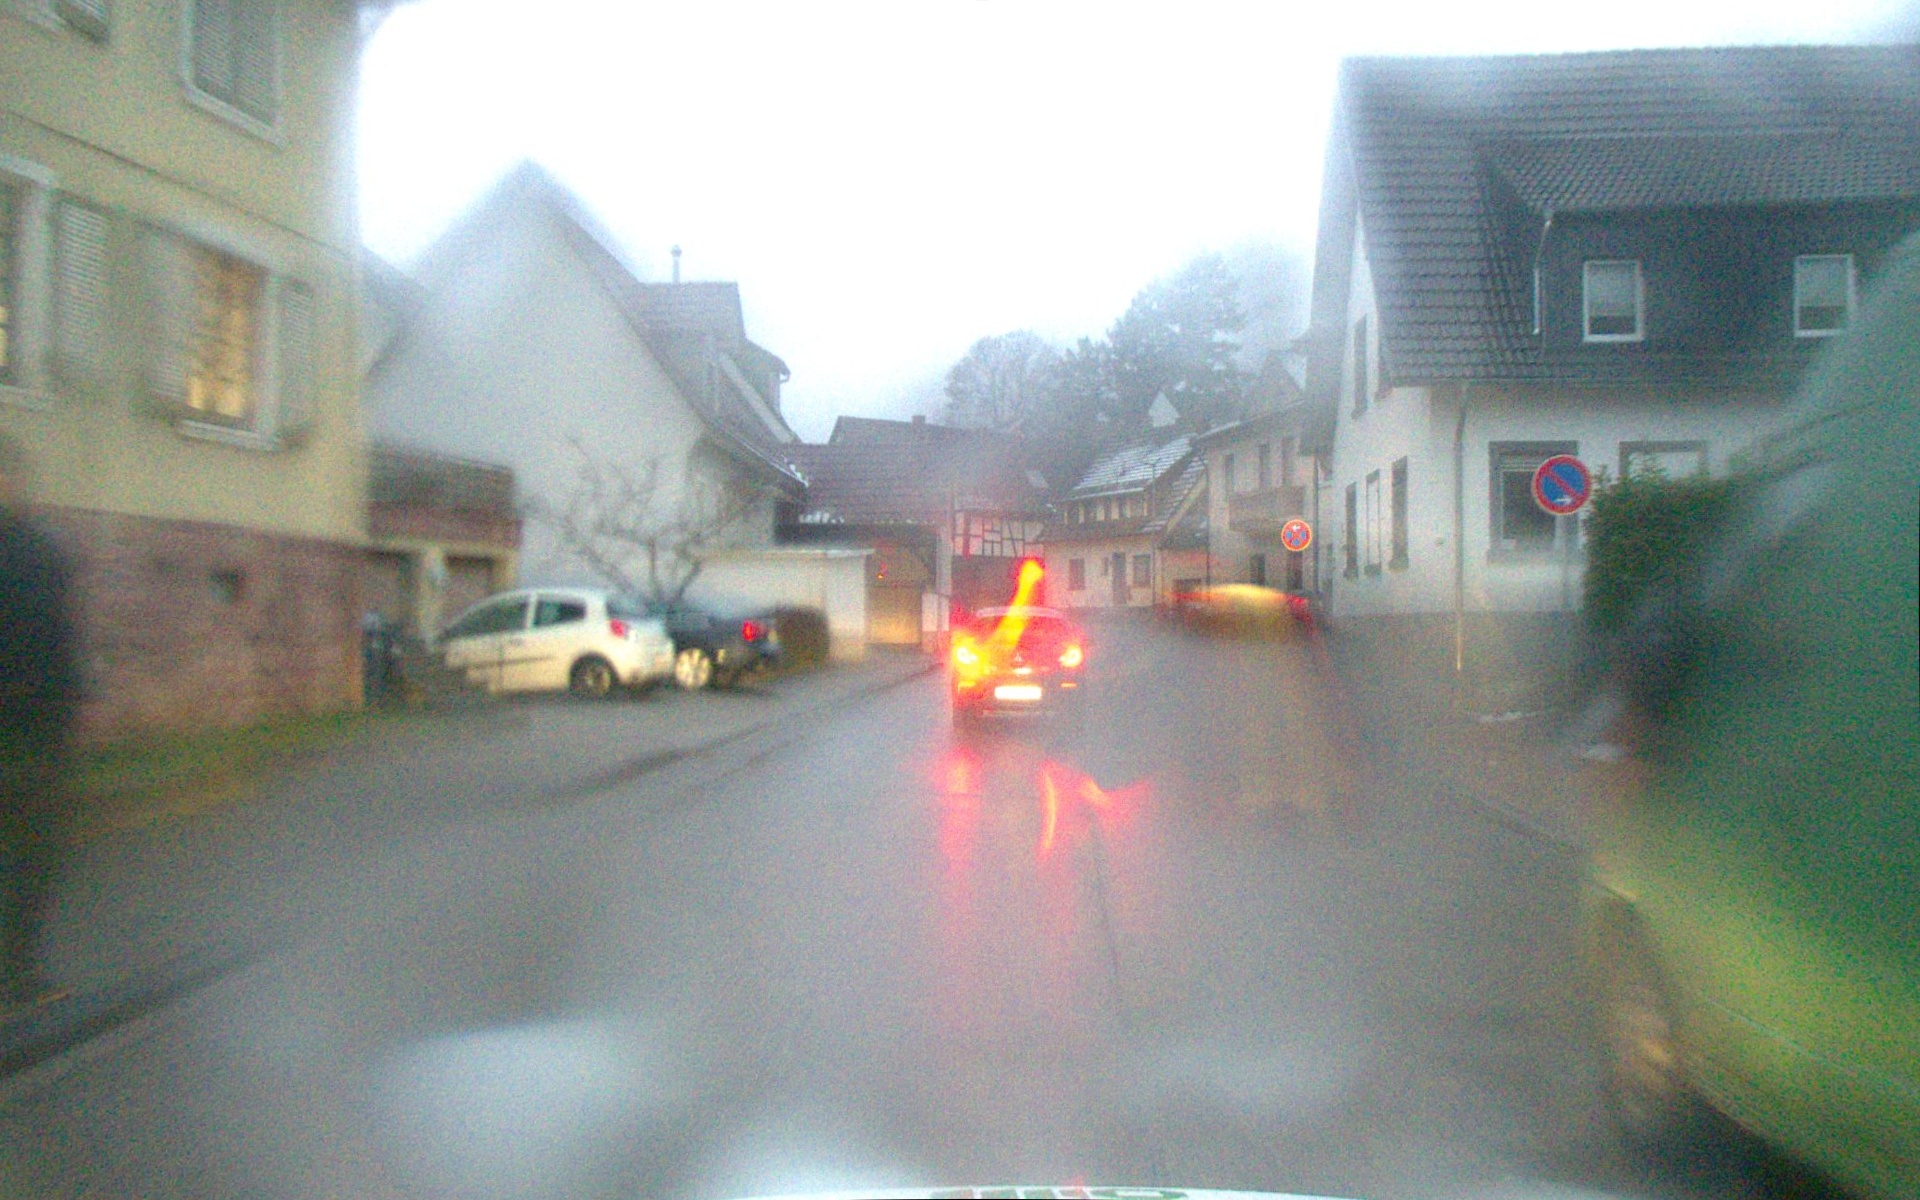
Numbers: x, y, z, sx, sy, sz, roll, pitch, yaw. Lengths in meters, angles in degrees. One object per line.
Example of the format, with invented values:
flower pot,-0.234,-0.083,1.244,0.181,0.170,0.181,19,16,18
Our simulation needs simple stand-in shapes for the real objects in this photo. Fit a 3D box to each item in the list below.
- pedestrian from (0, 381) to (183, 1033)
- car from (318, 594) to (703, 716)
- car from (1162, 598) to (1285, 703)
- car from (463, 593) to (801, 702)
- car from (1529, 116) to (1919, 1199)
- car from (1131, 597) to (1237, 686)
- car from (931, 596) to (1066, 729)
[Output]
pedestrian,-3.302,0.328,5.664,0.767,2.049,0.870,1,-1,4
car,-5.869,0.707,21.809,4.504,1.496,1.893,-1,0,10
car,4.107,0.742,26.261,1.603,1.497,4.002,1,0,5
car,-4.780,0.687,24.508,4.496,1.496,2.001,-1,0,6
car,2.827,0.319,2.852,1.967,2.497,5.617,1,0,3
car,4.139,0.730,31.015,1.604,1.520,4.001,1,0,3
car,0.550,0.711,20.714,1.513,1.491,3.700,1,0,4
